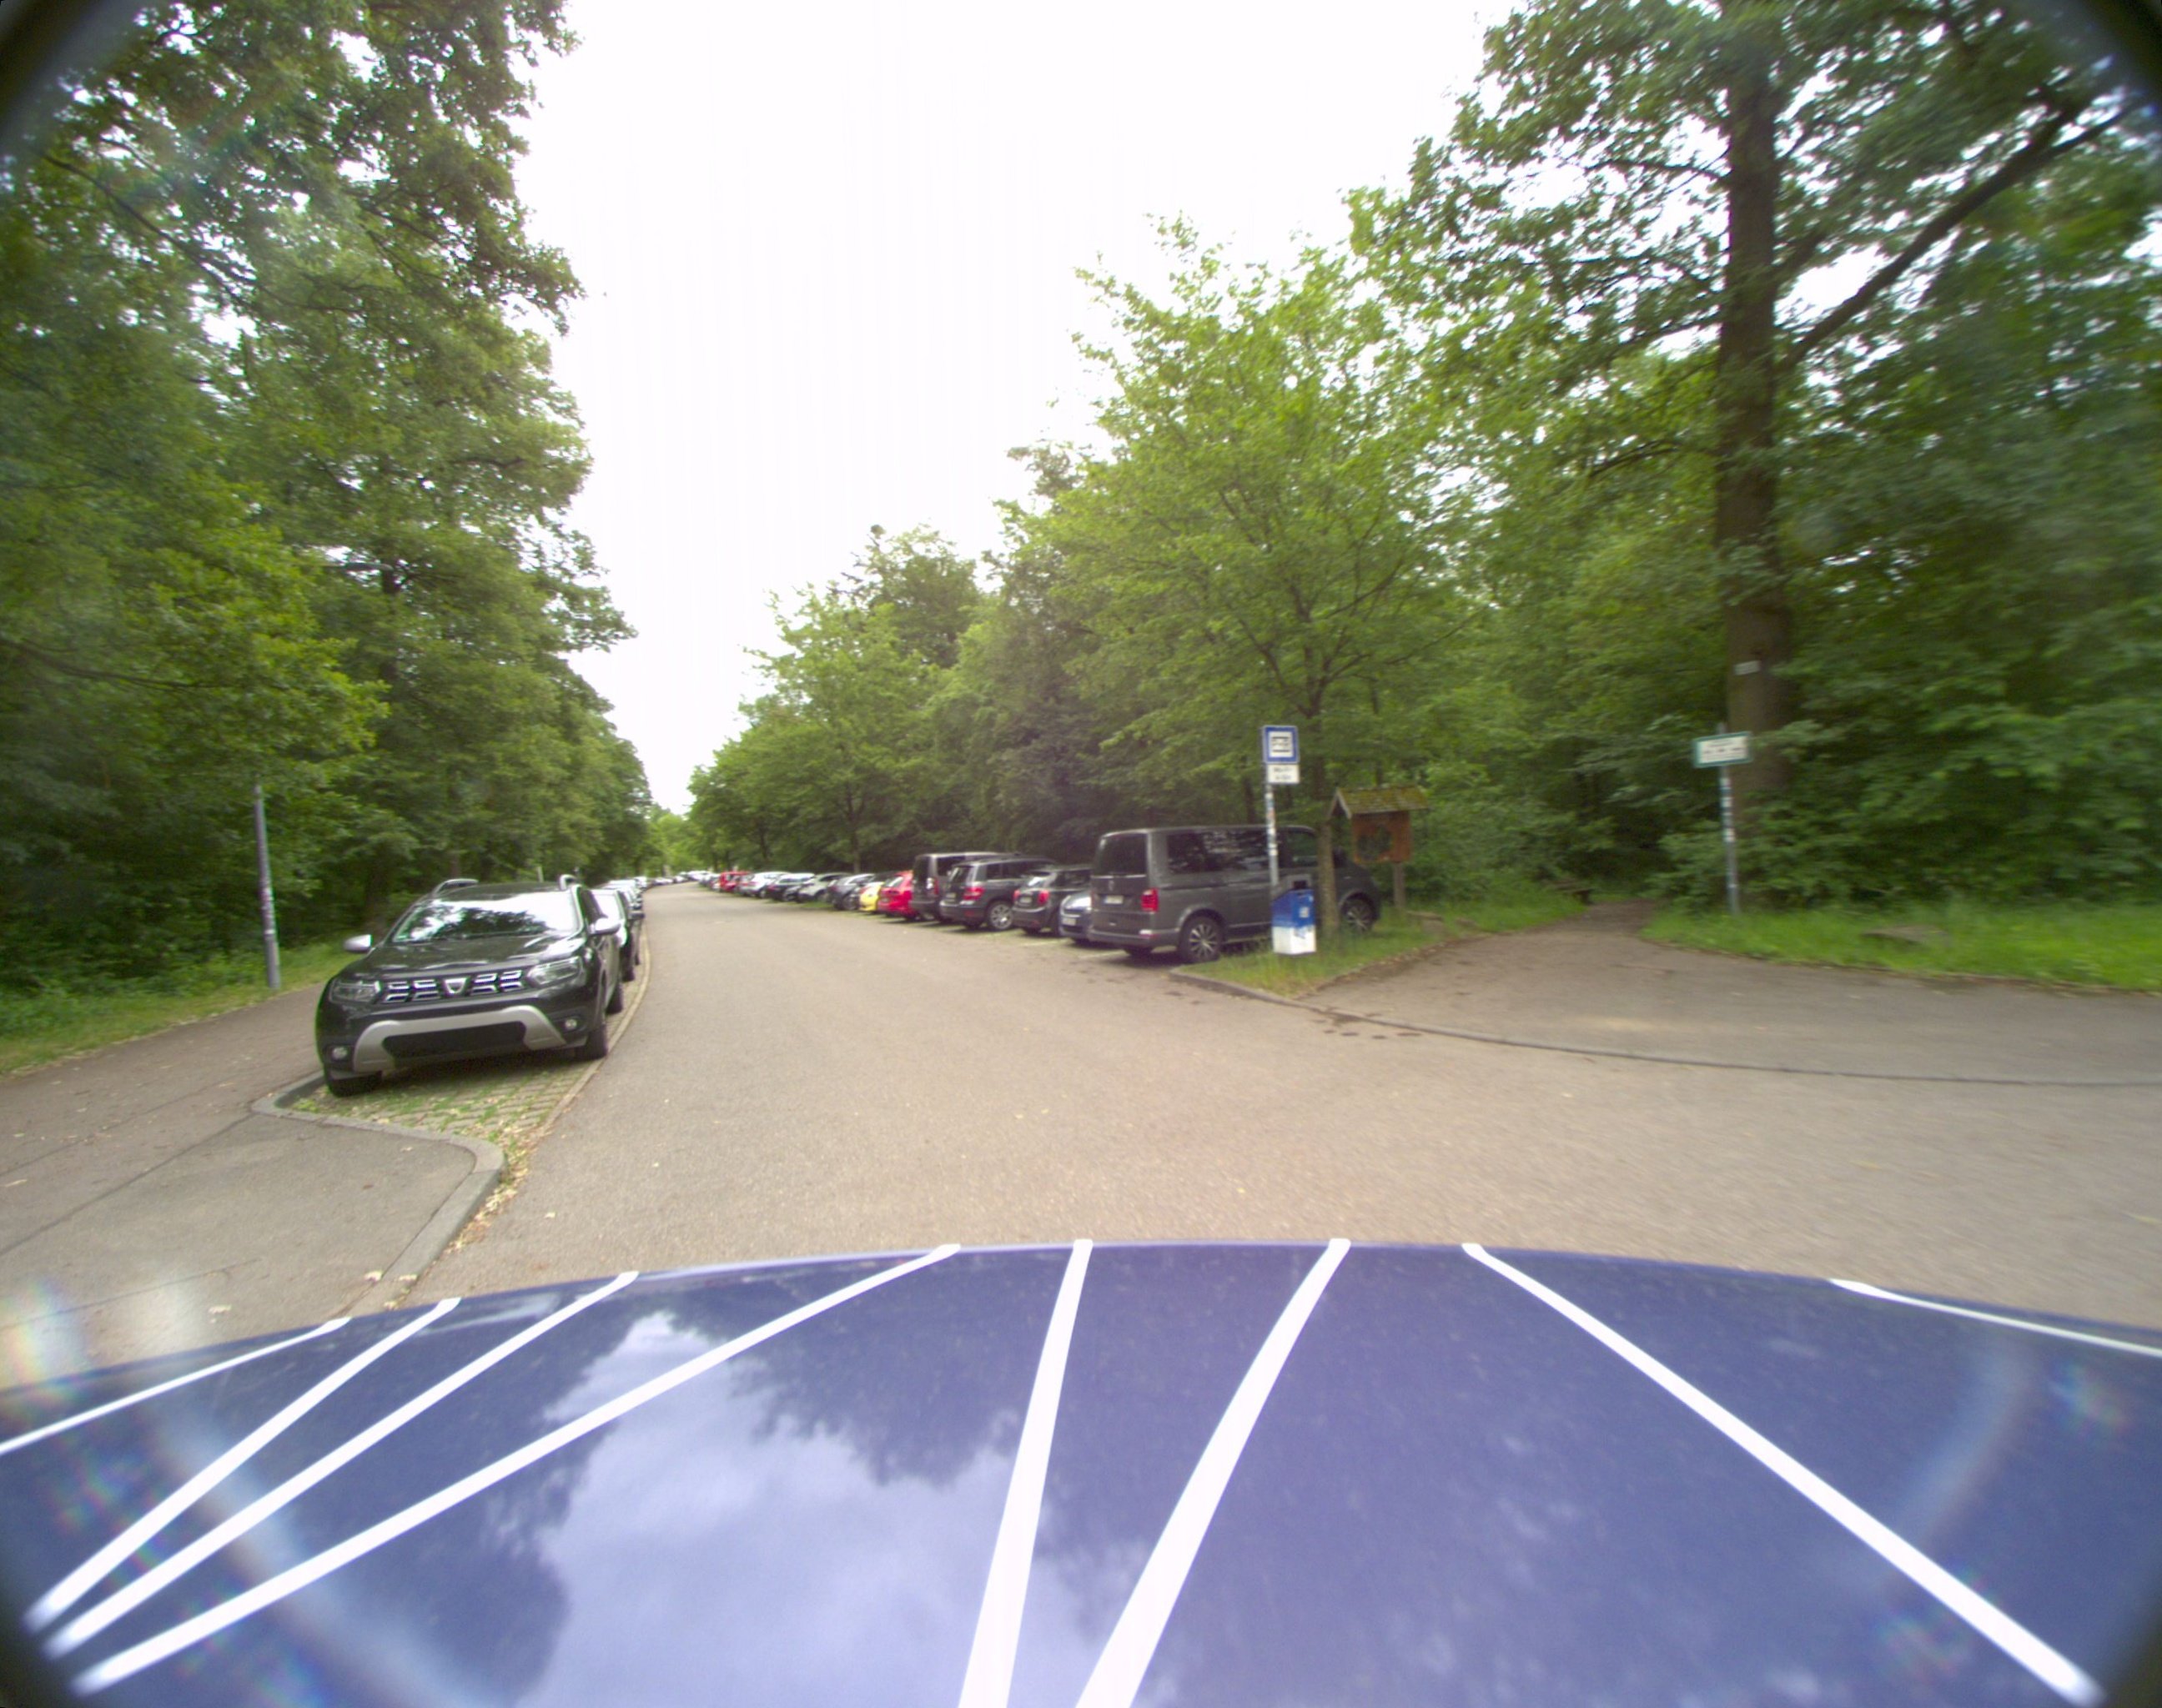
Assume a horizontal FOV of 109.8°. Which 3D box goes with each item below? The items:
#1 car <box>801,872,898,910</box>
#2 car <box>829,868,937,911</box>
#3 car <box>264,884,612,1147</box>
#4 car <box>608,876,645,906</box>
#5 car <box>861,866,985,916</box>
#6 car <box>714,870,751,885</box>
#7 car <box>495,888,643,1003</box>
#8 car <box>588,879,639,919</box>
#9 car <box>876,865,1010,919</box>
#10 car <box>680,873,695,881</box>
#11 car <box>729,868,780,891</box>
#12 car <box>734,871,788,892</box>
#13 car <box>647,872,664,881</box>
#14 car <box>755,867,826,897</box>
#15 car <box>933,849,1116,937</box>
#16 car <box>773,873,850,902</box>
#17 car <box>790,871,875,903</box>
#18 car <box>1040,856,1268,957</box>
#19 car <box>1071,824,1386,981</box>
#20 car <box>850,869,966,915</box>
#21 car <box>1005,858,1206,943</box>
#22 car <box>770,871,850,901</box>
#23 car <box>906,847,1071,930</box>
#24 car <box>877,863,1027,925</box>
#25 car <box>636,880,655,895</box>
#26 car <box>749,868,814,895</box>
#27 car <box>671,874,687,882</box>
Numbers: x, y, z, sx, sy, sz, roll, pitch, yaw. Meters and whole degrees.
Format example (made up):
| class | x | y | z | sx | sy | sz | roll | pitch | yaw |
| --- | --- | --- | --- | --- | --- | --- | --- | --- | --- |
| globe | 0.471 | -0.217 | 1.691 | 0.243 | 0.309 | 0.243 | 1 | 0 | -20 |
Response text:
| class | x | y | z | sx | sy | sz | roll | pitch | yaw |
| --- | --- | --- | --- | --- | --- | --- | --- | --- | --- |
| car | -10.966 | 1.705 | 36.040 | 4.005 | 1.458 | 1.711 | -4 | 0 | -30 |
| car | -8.308 | 1.468 | 31.893 | 4.005 | 1.430 | 1.711 | -4 | 0 | -29 |
| car | -5.760 | 1.177 | 7.437 | 1.744 | 1.624 | 4.366 | -3 | 0 | -30 |
| car | -27.779 | 2.197 | 46.467 | 1.744 | 1.634 | 5.061 | -3 | 0 | -31 |
| car | -5.711 | 1.315 | 27.573 | 4.005 | 1.430 | 1.614 | -4 | 0 | -29 |
| car | -44.810 | 2.972 | 97.662 | 4.006 | 1.717 | 1.710 | -3 | 0 | -32 |
| car | -8.727 | 1.434 | 13.280 | 1.744 | 1.486 | 4.224 | -3 | 0 | -30 |
| car | -20.690 | 1.931 | 33.736 | 1.744 | 1.559 | 3.999 | -3 | 0 | -31 |
| car | -4.590 | 1.231 | 25.472 | 4.005 | 1.430 | 1.668 | -4 | 0 | -32 |
| car | -79.076 | 4.673 | 152.692 | 1.774 | 1.308 | 3.885 | -3 | 1 | -15 |
| car | -29.583 | 2.313 | 68.790 | 4.006 | 1.804 | 1.814 | -2 | 0 | -30 |
| car | -27.137 | 2.348 | 64.442 | 4.005 | 1.507 | 1.767 | -3 | 0 | -29 |
| car | -71.211 | 3.728 | 127.196 | 1.504 | 1.470 | 3.661 | -3 | 0 | -15 |
| car | -18.855 | 1.812 | 49.393 | 4.006 | 1.652 | 1.810 | -3 | 0 | -31 |
| car | -1.357 | 0.892 | 18.743 | 4.005 | 1.755 | 1.820 | -4 | 1 | -31 |
| car | -15.983 | 1.980 | 45.087 | 4.005 | 1.427 | 1.645 | -3 | 0 | -28 |
| car | -13.220 | 1.746 | 40.442 | 4.005 | 1.427 | 1.674 | -3 | 0 | -27 |
| car | 1.383 | 0.905 | 14.277 | 3.832 | 1.503 | 1.806 | -3 | -1 | -27 |
| car | 2.337 | 0.627 | 11.848 | 4.523 | 1.966 | 1.887 | -3 | 0 | -27 |
| car | -6.719 | 1.433 | 29.662 | 4.005 | 1.430 | 1.730 | -4 | 0 | -29 |
| car | 0.559 | 0.938 | 16.648 | 4.005 | 1.422 | 1.717 | -4 | 0 | -28 |
| car | -15.272 | 1.770 | 42.810 | 4.005 | 1.427 | 1.674 | -3 | 0 | -27 |
| car | -2.523 | 0.892 | 20.878 | 4.005 | 1.851 | 1.809 | -4 | 1 | -29 |
| car | -3.862 | 1.156 | 22.869 | 4.005 | 1.467 | 1.776 | -4 | 0 | -31 |
| car | -54.560 | 4.190 | 95.322 | 1.583 | 1.610 | 3.955 | -4 | 1 | -24 |
| car | -21.164 | 1.910 | 53.621 | 4.005 | 1.652 | 1.810 | -3 | 0 | -29 |
| car | -76.134 | 4.600 | 143.993 | 1.774 | 1.307 | 3.888 | -3 | -3 | -15 |
